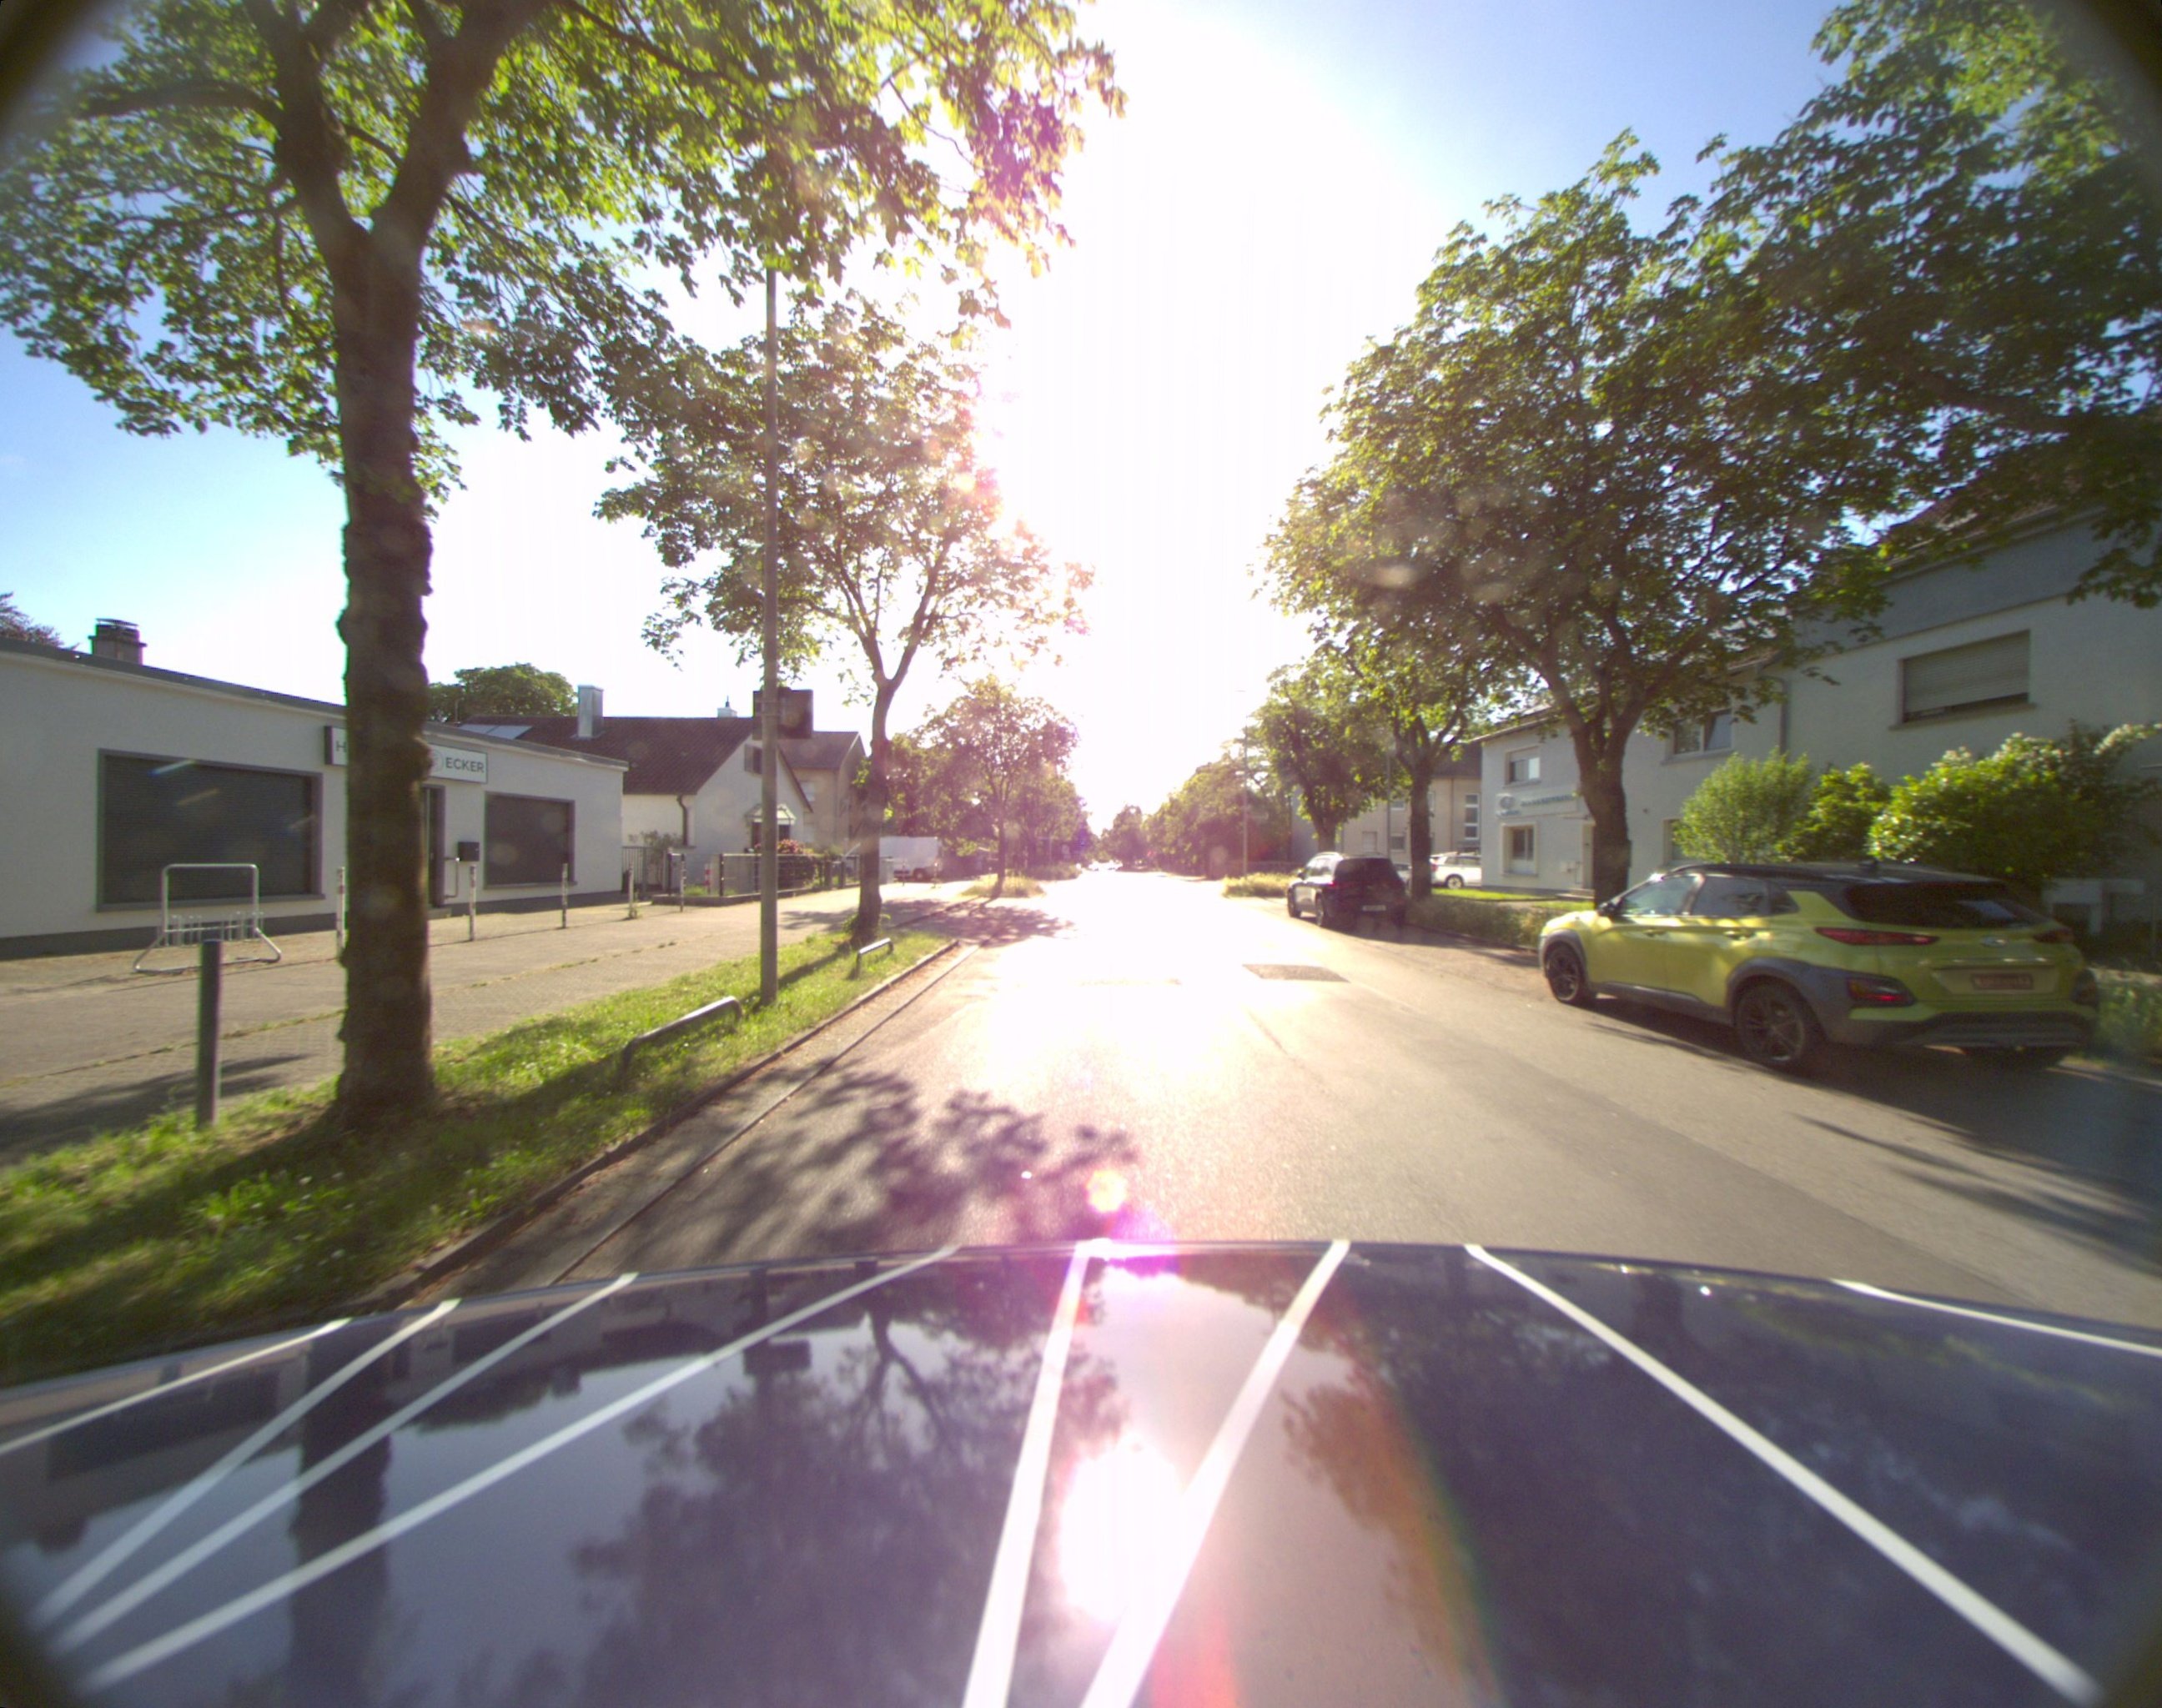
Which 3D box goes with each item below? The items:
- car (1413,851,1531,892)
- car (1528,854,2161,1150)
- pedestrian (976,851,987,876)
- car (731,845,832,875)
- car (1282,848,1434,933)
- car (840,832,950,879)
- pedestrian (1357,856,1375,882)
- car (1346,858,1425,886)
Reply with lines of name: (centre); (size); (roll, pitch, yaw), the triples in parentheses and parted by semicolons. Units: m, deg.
car: (18.273, 0.854, 35.661); (4.501, 1.826, 2.001); (1, -3, -2)
car: (6.037, 0.861, 6.538); (1.943, 1.599, 4.383); (-1, 1, 2)
pedestrian: (-7.018, 0.653, 53.668); (0.638, 1.695, 0.612); (3, -1, 0)
car: (-16.667, 0.327, 42.528); (4.753, 1.572, 2.285); (-1, -1, -2)
car: (6.307, 0.767, 17.973); (1.958, 1.716, 4.876); (-1, -1, 2)
car: (-10.390, 0.088, 42.715); (5.610, 2.524, 2.265); (1, 0, -2)
pedestrian: (16.968, 0.881, 45.212); (0.785, 1.544, 0.639); (-1, -1, -2)
car: (17.340, 1.049, 43.432); (3.776, 1.470, 1.871); (1, -2, -1)
